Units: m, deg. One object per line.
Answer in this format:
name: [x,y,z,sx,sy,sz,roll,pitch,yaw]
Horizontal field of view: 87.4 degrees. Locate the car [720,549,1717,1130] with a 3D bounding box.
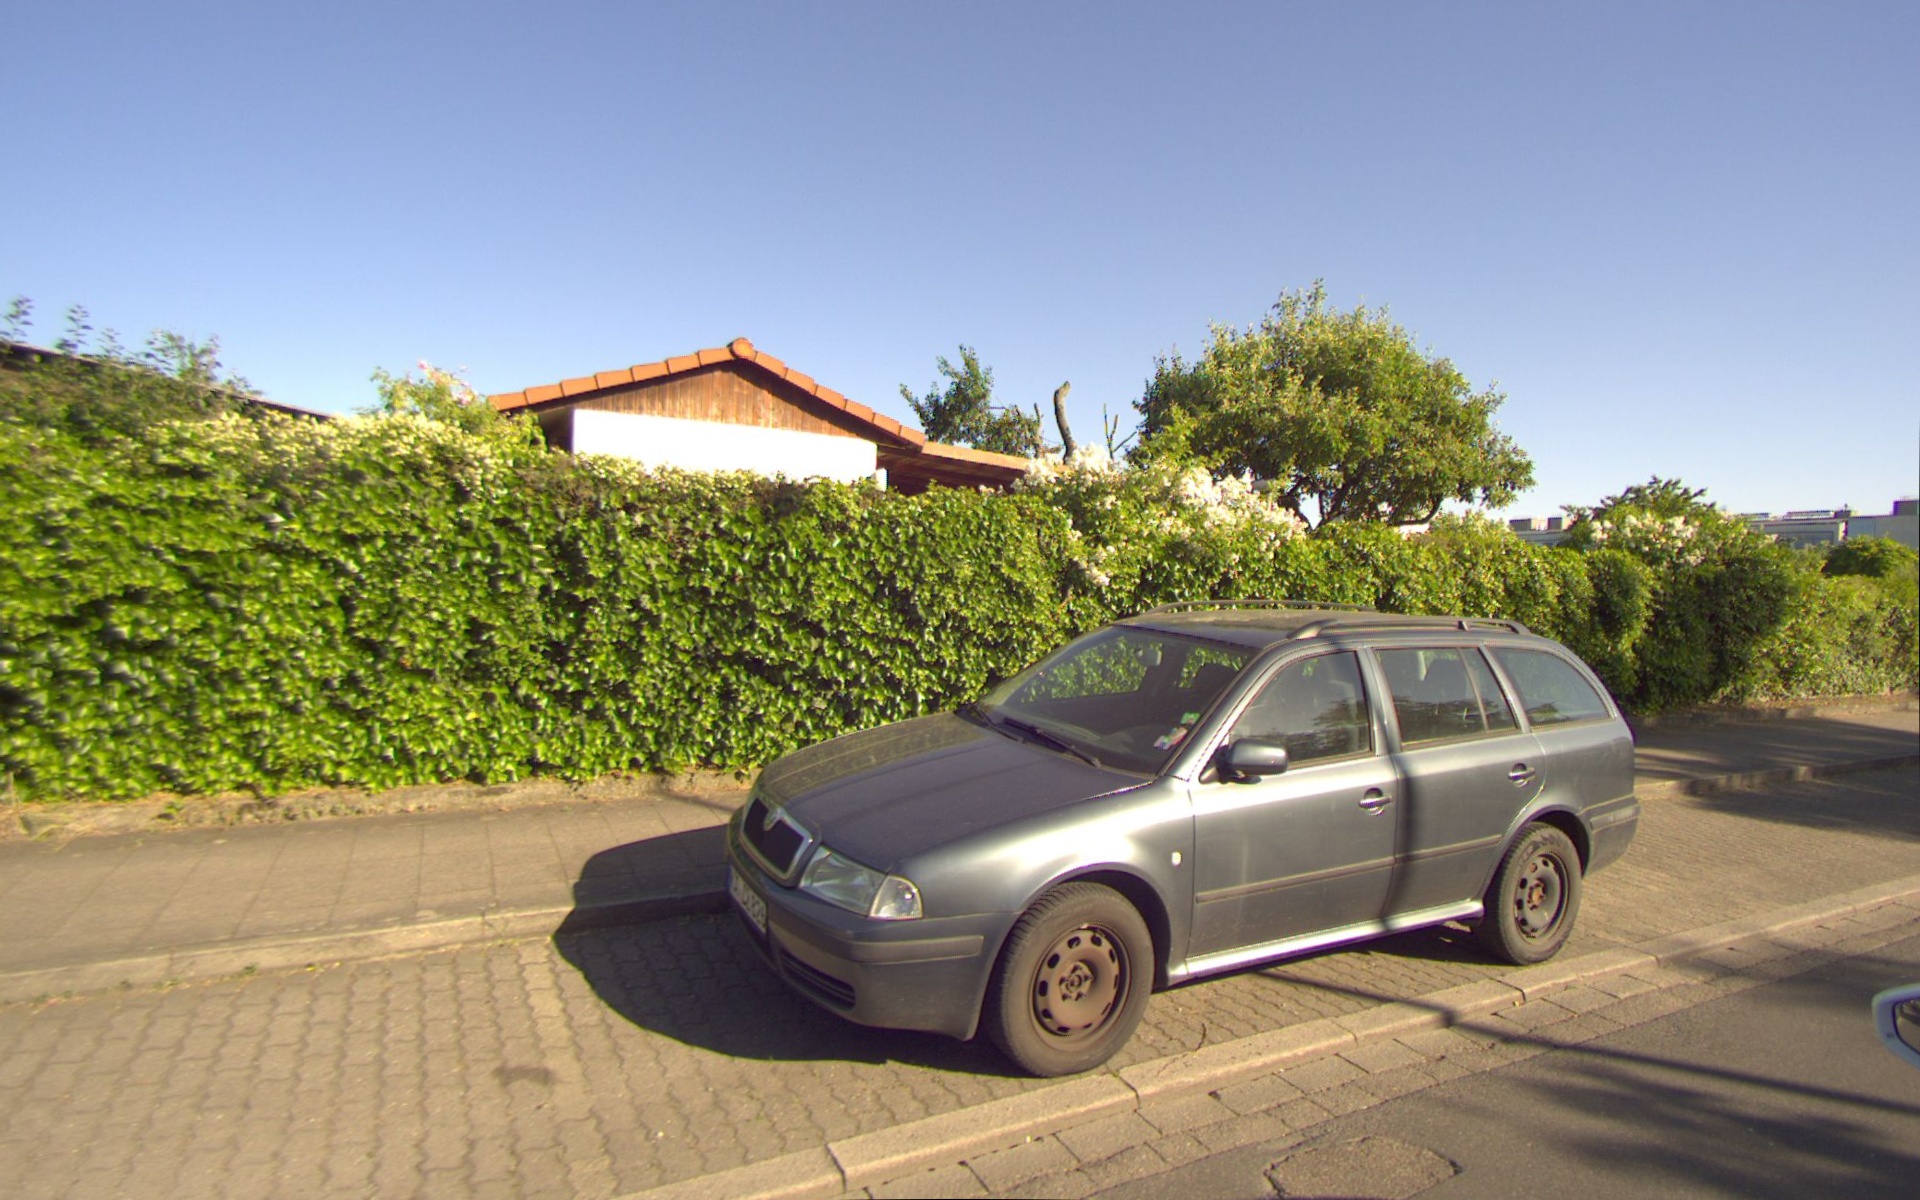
car: [1.309,0.710,4.568,4.363,1.577,1.636,2,4,-29]
